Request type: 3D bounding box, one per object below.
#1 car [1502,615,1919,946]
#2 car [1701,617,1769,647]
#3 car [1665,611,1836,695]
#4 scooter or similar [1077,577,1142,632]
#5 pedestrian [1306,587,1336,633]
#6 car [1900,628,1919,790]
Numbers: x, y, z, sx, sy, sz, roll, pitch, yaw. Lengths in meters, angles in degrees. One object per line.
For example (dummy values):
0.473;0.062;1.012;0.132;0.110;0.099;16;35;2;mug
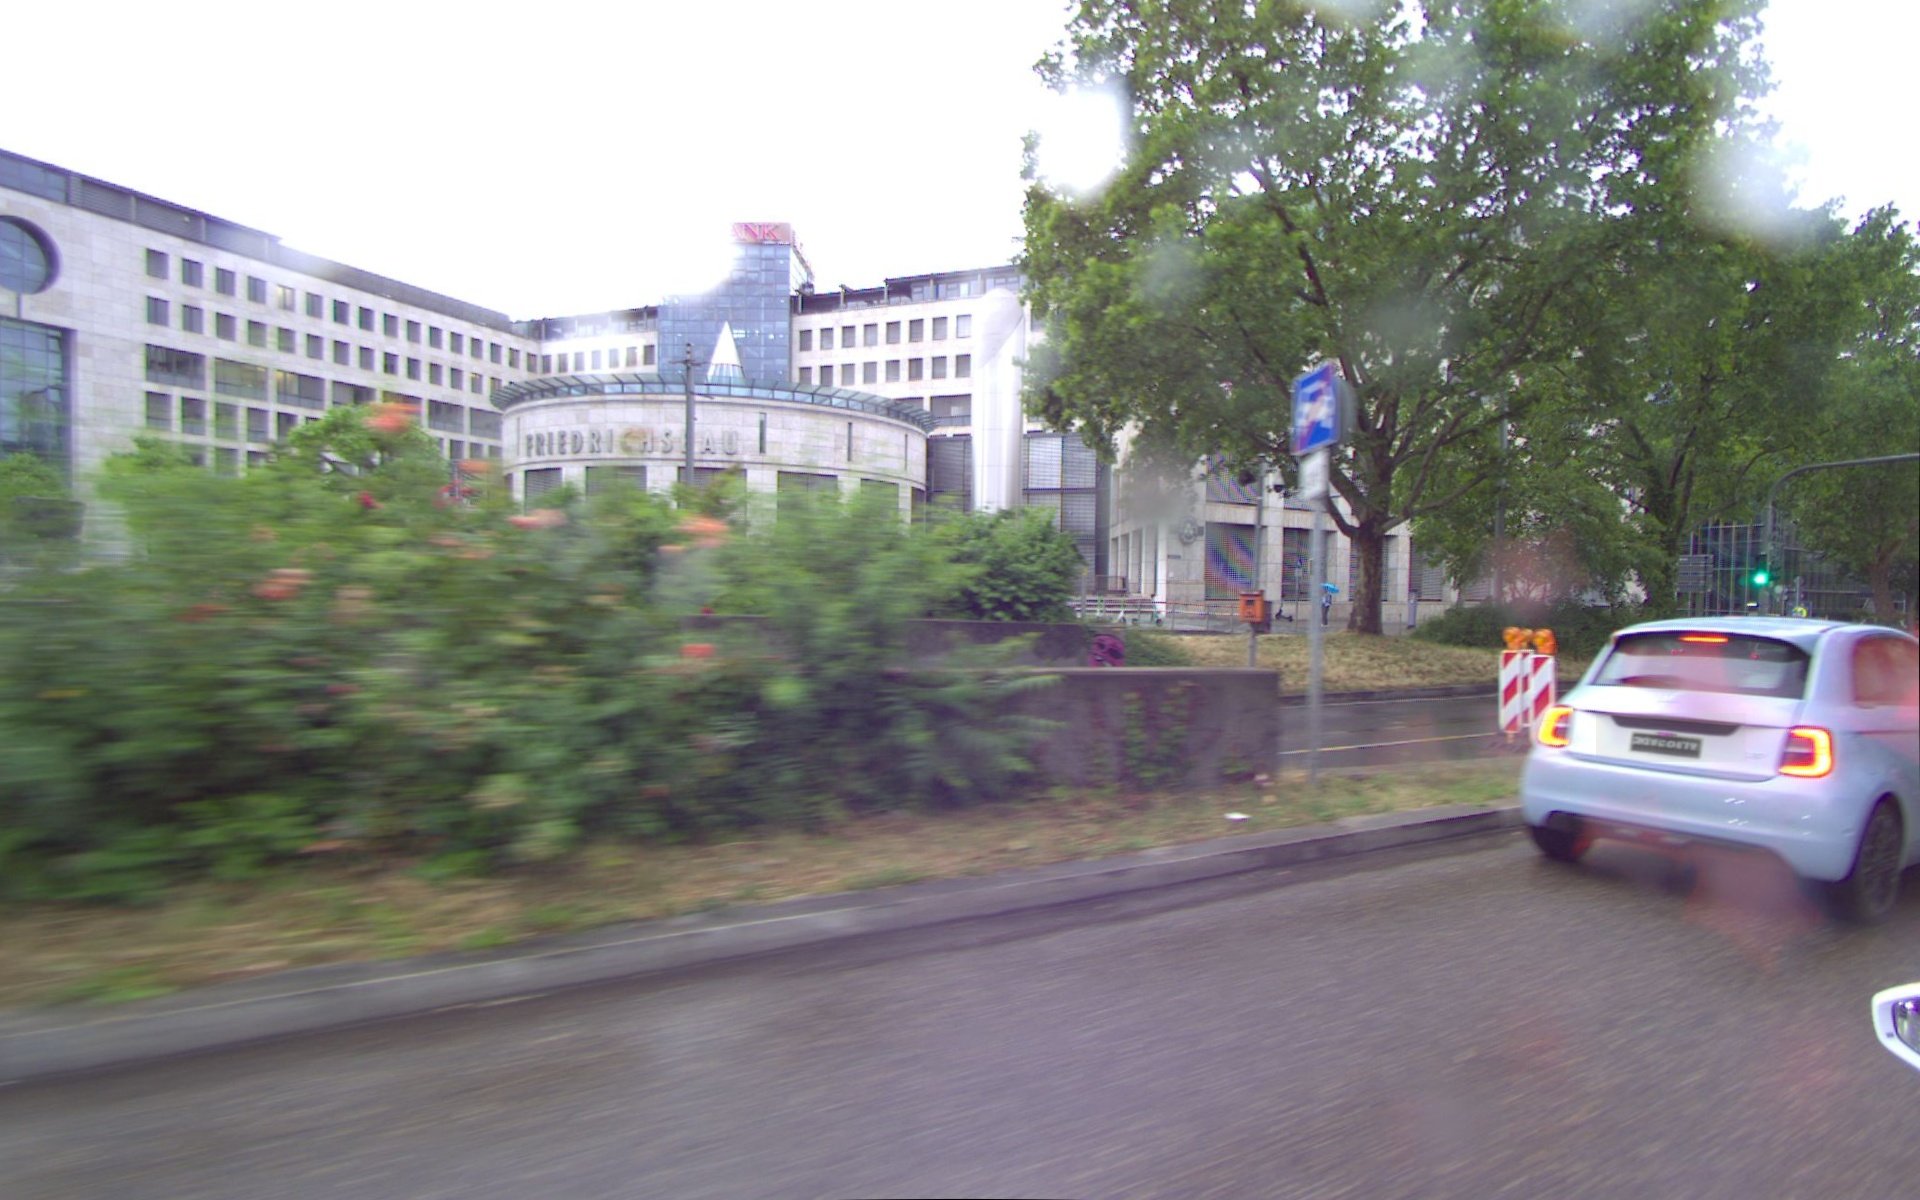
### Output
5.117;0.889;6.255;3.466;1.511;1.581;2;-1;-32;car
47.078;1.961;61.034;4.187;1.664;1.681;2;0;-28;car
17.223;1.108;21.848;3.956;1.641;1.690;1;1;-32;car
5.706;0.147;38.631;0.821;2.040;3.067;1;1;-27;scooter or similar
16.465;0.449;45.803;0.938;2.041;0.779;0;3;-36;pedestrian
10.899;1.055;9.717;4.085;1.482;1.682;2;-1;-32;car
